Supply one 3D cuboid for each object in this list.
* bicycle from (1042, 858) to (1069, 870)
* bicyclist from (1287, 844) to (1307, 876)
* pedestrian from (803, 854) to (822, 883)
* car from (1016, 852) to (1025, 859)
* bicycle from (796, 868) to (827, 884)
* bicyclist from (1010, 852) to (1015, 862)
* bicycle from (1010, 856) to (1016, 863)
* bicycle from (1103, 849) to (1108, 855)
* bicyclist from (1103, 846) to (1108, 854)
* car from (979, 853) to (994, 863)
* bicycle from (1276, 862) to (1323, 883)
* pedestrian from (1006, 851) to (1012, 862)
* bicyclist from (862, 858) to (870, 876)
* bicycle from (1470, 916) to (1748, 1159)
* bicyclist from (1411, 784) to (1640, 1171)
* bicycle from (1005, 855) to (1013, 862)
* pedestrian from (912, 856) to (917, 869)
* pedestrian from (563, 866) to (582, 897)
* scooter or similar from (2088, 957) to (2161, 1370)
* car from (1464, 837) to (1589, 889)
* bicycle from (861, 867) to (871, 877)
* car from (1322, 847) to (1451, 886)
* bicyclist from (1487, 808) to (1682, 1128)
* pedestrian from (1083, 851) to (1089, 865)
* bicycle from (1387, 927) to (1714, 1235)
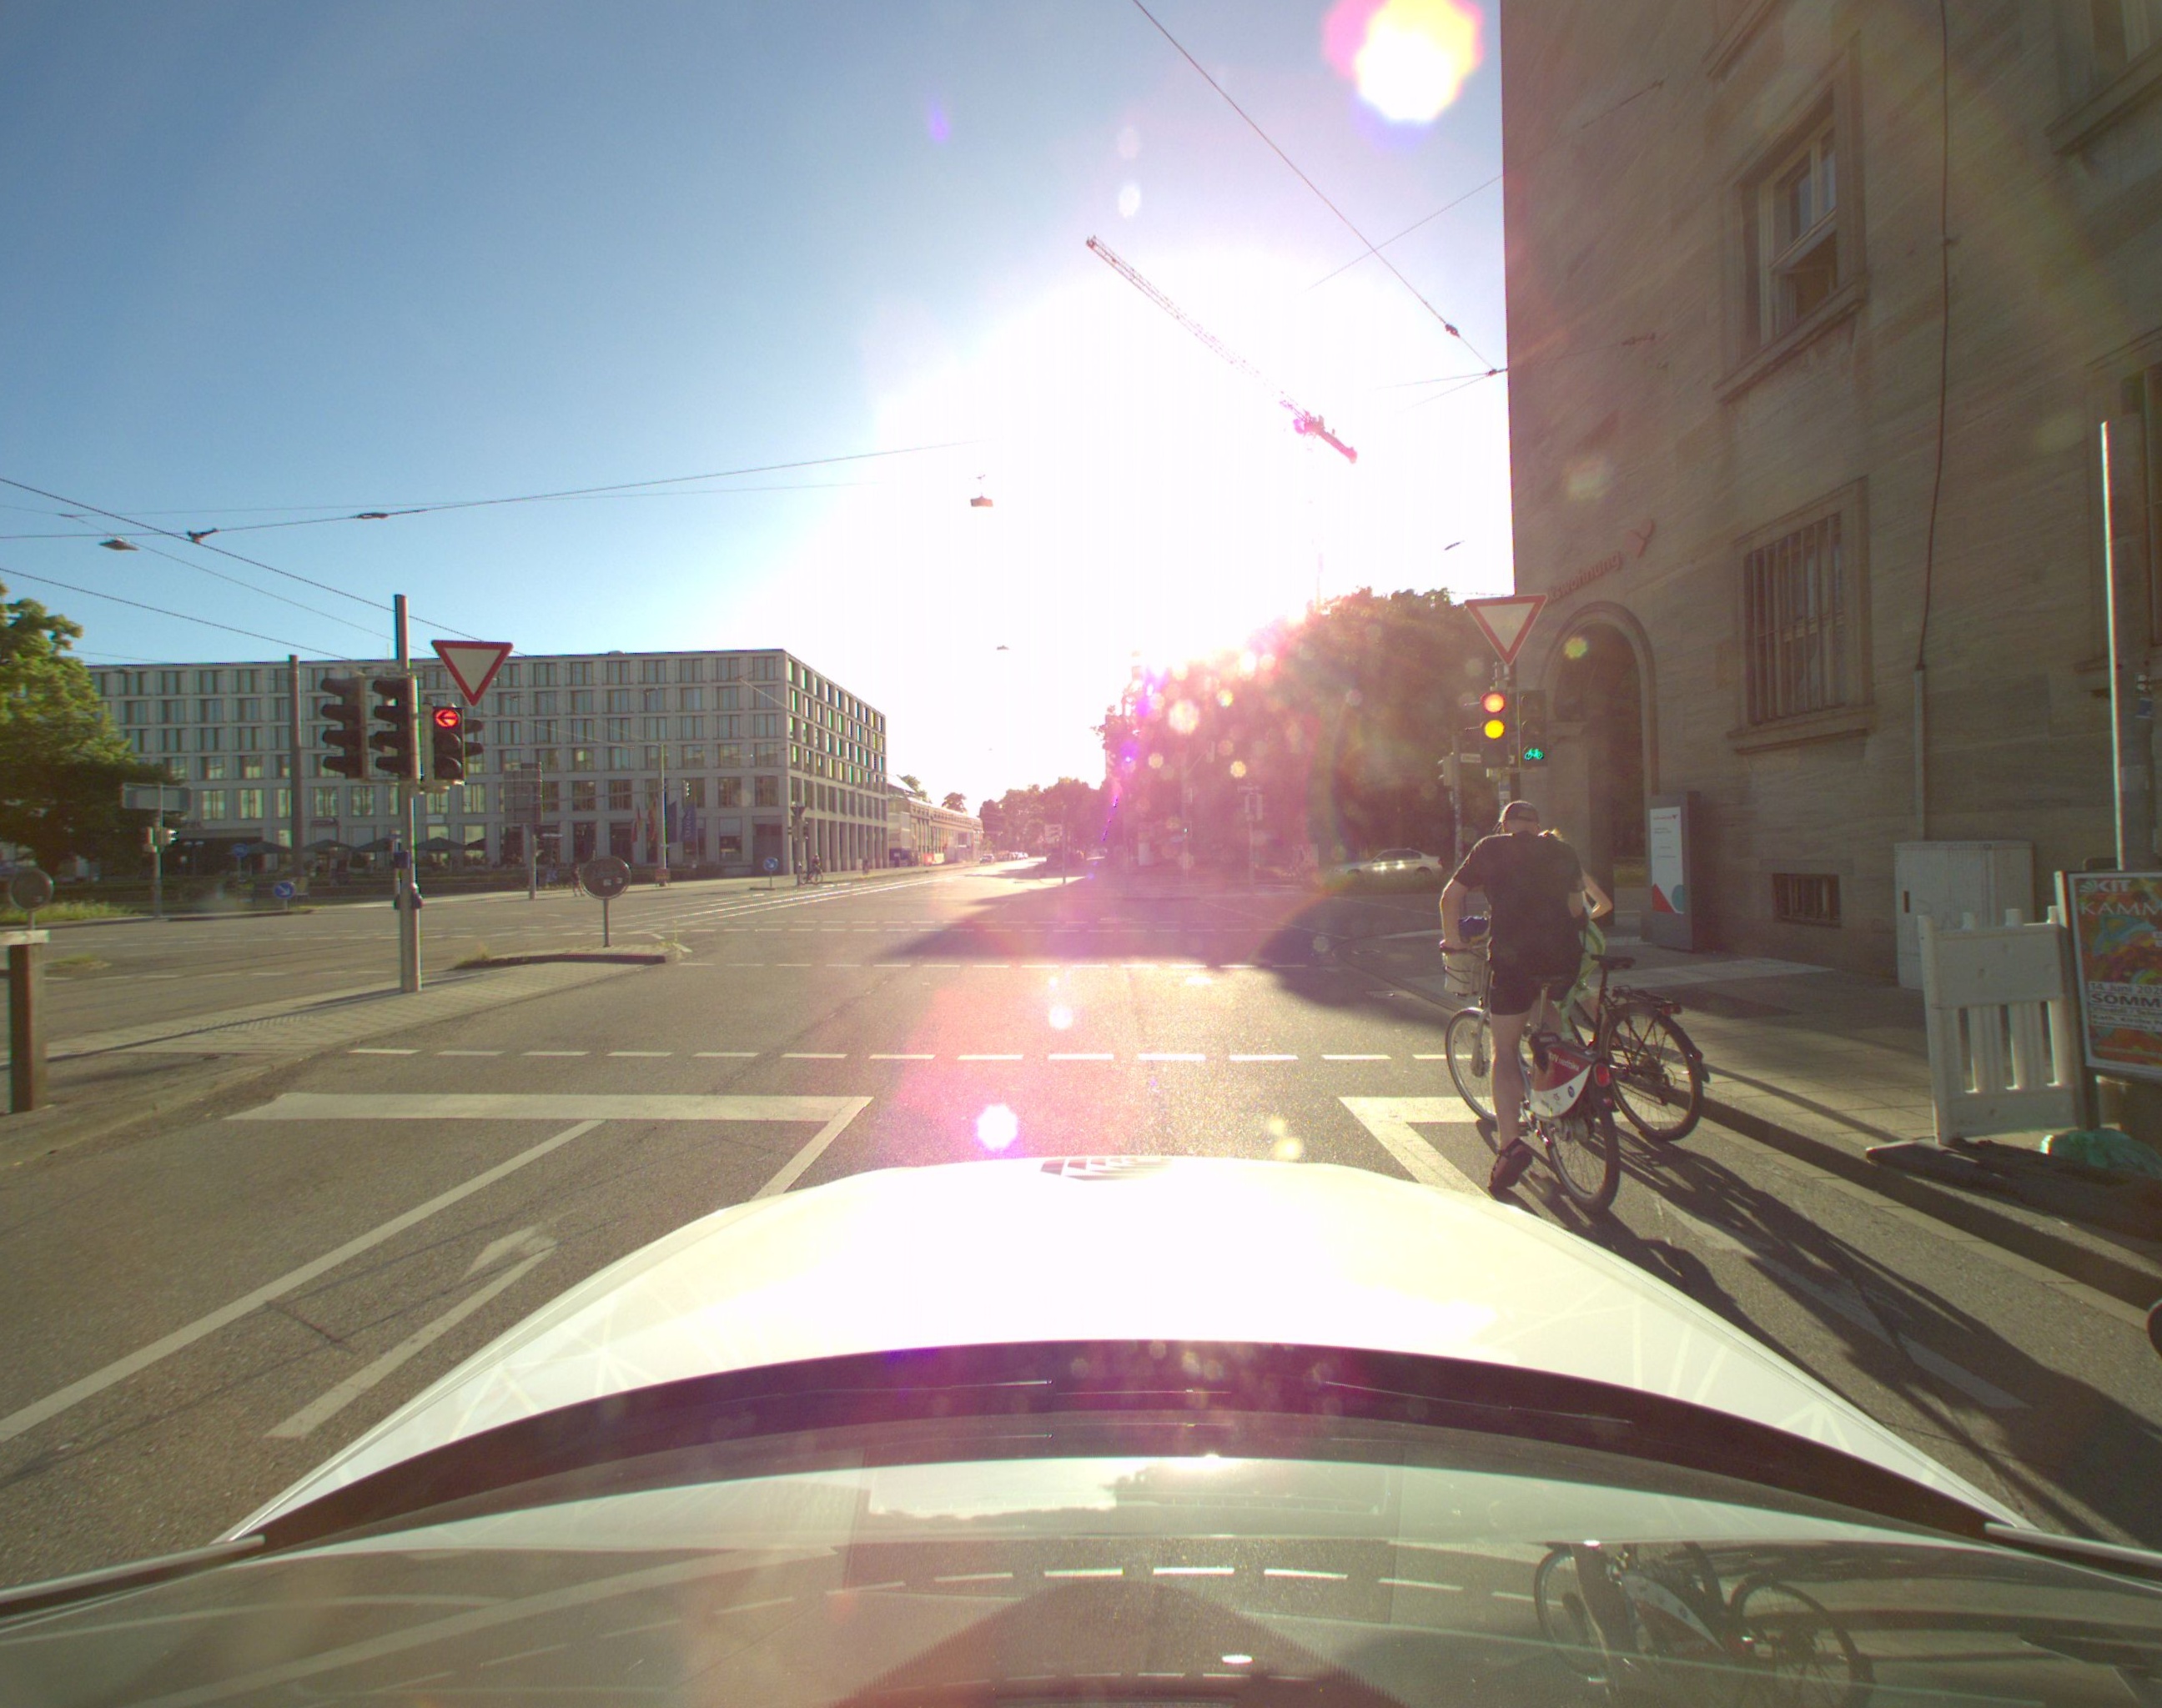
[{"bbox_3d":[-2.096,0.837,67.413,2.240,0.940,0.653,-2,0,-4],"label":"bicycle"},{"bbox_3d":[9.619,0.267,36.281,0.742,1.406,0.704,-1,-1,8],"label":"bicyclist"},{"bbox_3d":[-14.630,0.792,44.411,0.735,1.595,0.577,-2,0,29],"label":"pedestrian"},{"bbox_3d":[-14.439,0.332,195.311,1.988,1.644,3.998,-2,0,-1],"label":"car"},{"bbox_3d":[-14.701,1.185,44.453,1.696,0.823,0.577,-2,0,29],"label":"bicycle"},{"bbox_3d":[-12.997,0.642,154.870,0.748,1.920,1.214,0,-1,1],"label":"bicyclist"},{"bbox_3d":[-12.973,1.038,154.986,0.748,1.205,3.108,0,-1,1],"label":"bicycle"},{"bbox_3d":[6.012,-0.493,200.582,0.890,1.219,2.784,0,-1,-9],"label":"bicycle"},{"bbox_3d":[6.031,-0.900,200.505,0.891,2.014,0.746,0,-1,-10],"label":"bicyclist"},{"bbox_3d":[-15.795,0.731,136.356,1.988,1.599,3.998,-2,0,-1],"label":"car"},{"bbox_3d":[9.712,0.831,36.268,1.932,0.889,0.719,-1,-1,8],"label":"bicycle"},{"bbox_3d":[-13.146,0.405,148.762,0.746,2.063,1.052,0,-1,7],"label":"pedestrian"},{"bbox_3d":[-18.683,1.109,70.755,0.492,1.498,0.667,-2,0,4],"label":"bicyclist"},{"bbox_3d":[3.013,0.972,4.881,0.579,1.044,1.748,-2,0,3],"label":"bicycle"},{"bbox_3d":[2.177,0.553,4.106,0.621,1.715,0.913,-2,0,1],"label":"bicyclist"},{"bbox_3d":[-13.146,0.852,148.691,0.746,1.205,3.114,0,-1,7],"label":"bicycle"},{"bbox_3d":[-25.008,1.256,122.202,0.585,1.889,0.478,0,-1,1],"label":"pedestrian"},{"bbox_3d":[-28.331,1.544,45.365,0.600,1.681,0.608,-2,0,9],"label":"pedestrian"},{"bbox_3d":[3.365,0.880,1.834,0.571,1.149,1.271,-1,-1,-3],"label":"scooter or similar"},{"bbox_3d":[17.882,0.352,32.841,3.970,2.014,2.002,0,-1,3],"label":"car"},{"bbox_3d":[-18.669,1.560,70.734,0.492,0.839,1.158,-2,0,4],"label":"bicycle"},{"bbox_3d":[12.435,0.505,33.399,4.559,1.516,2.001,0,-1,1],"label":"car"},{"bbox_3d":[2.995,0.627,4.940,0.581,1.738,0.951,-2,0,3],"label":"bicyclist"},{"bbox_3d":[0.572,0.482,97.832,0.576,1.689,0.584,-2,0,-6],"label":"pedestrian"},{"bbox_3d":[2.184,0.974,4.091,0.621,1.044,1.747,-2,0,1],"label":"bicycle"}]
